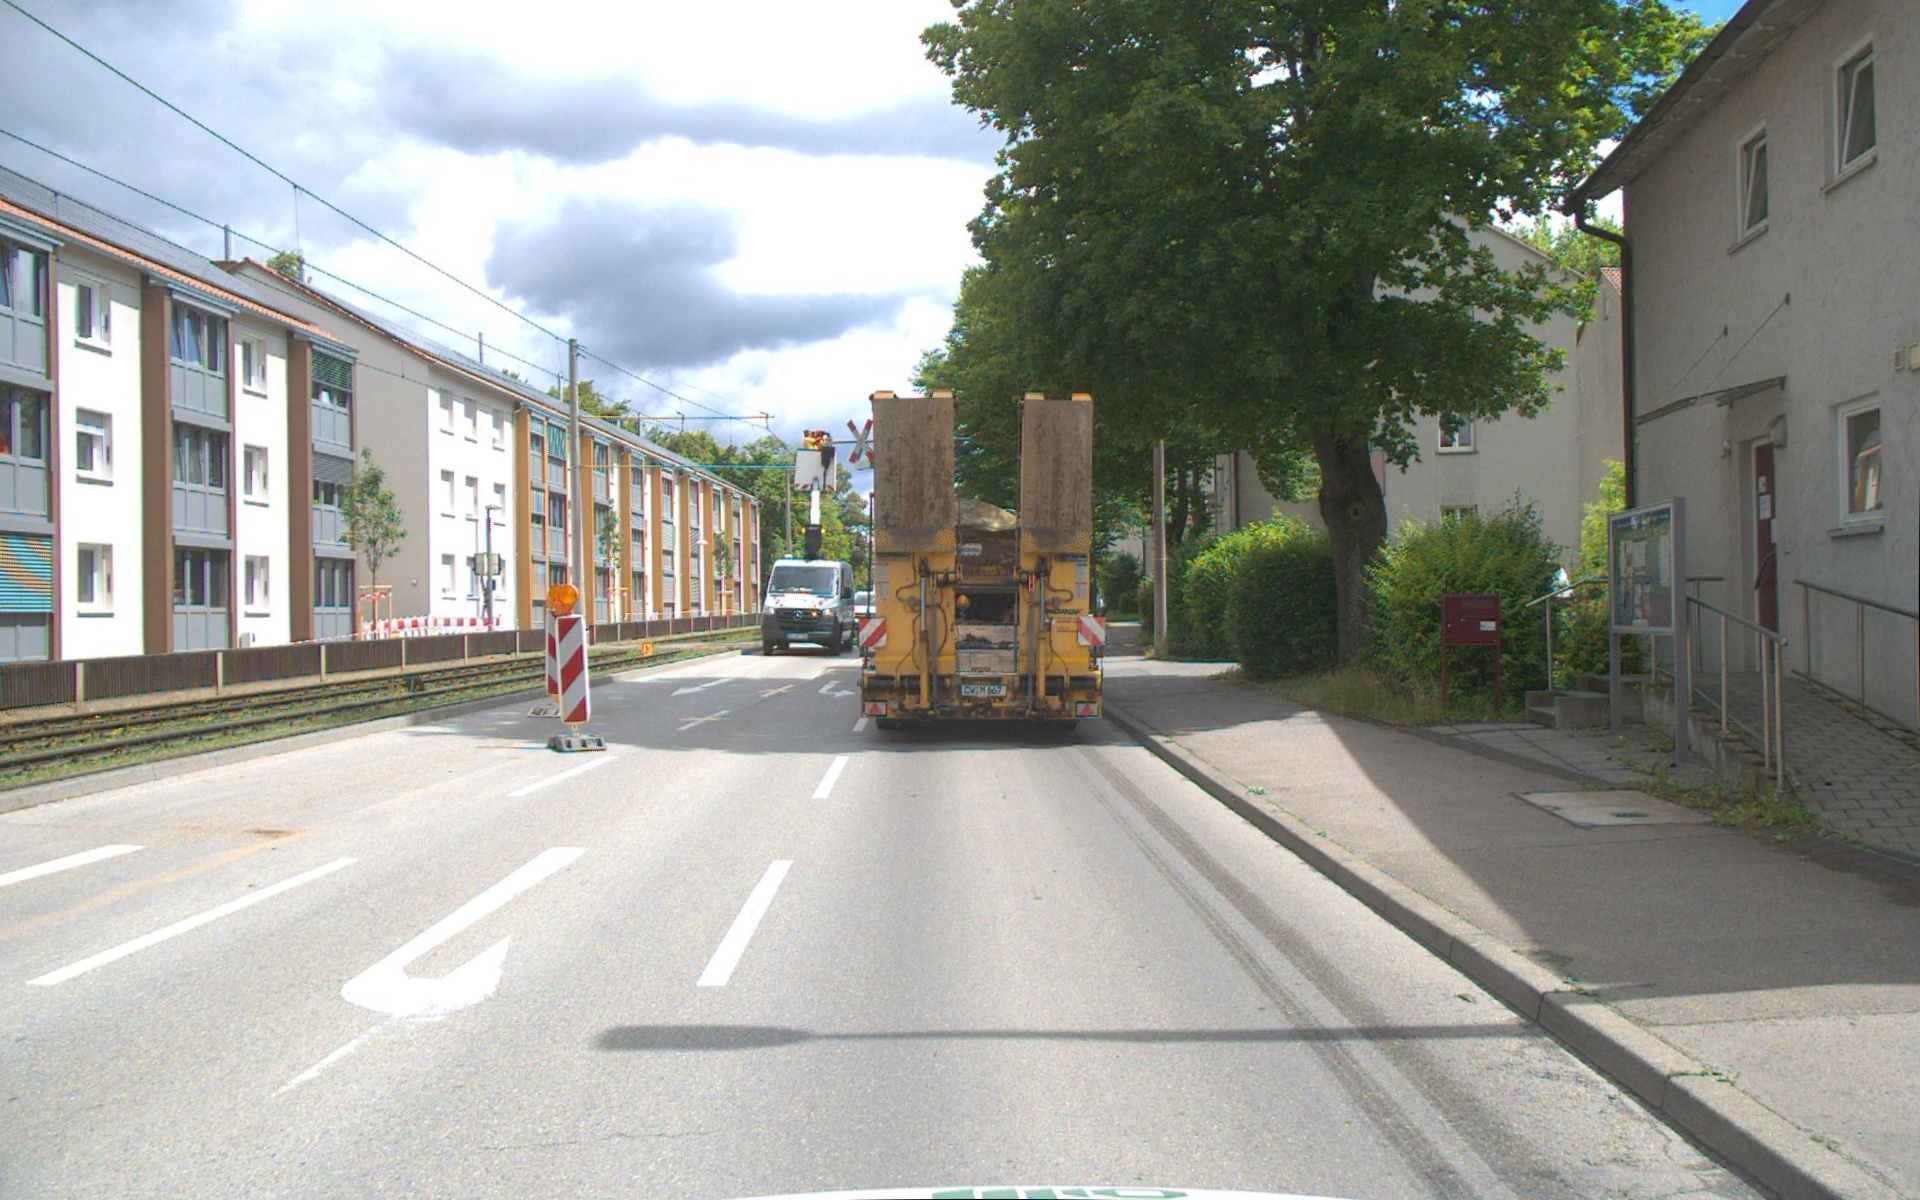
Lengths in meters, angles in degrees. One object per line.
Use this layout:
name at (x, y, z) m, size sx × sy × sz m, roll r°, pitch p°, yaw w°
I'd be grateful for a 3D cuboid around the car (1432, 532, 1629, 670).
car at (7.746, 0.020, 22.821) m, size 1.773 × 1.678 × 4.003 m, roll -2°, pitch 0°, yaw 8°

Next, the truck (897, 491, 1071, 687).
truck at (0.432, -0.192, 31.493) m, size 2.857 × 3.222 × 7.680 m, roll 1°, pitch 0°, yaw 0°

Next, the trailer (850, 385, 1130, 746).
trailer at (0.333, -0.350, 22.119) m, size 2.765 × 3.585 × 11.052 m, roll 1°, pitch 0°, yaw 0°

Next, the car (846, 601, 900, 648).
car at (-3.032, 0.821, 58.112) m, size 1.683 × 1.579 × 3.917 m, roll 0°, pitch 0°, yaw 0°

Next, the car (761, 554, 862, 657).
car at (-3.762, 0.129, 42.888) m, size 1.952 × 2.473 × 6.322 m, roll 0°, pitch 0°, yaw 1°
